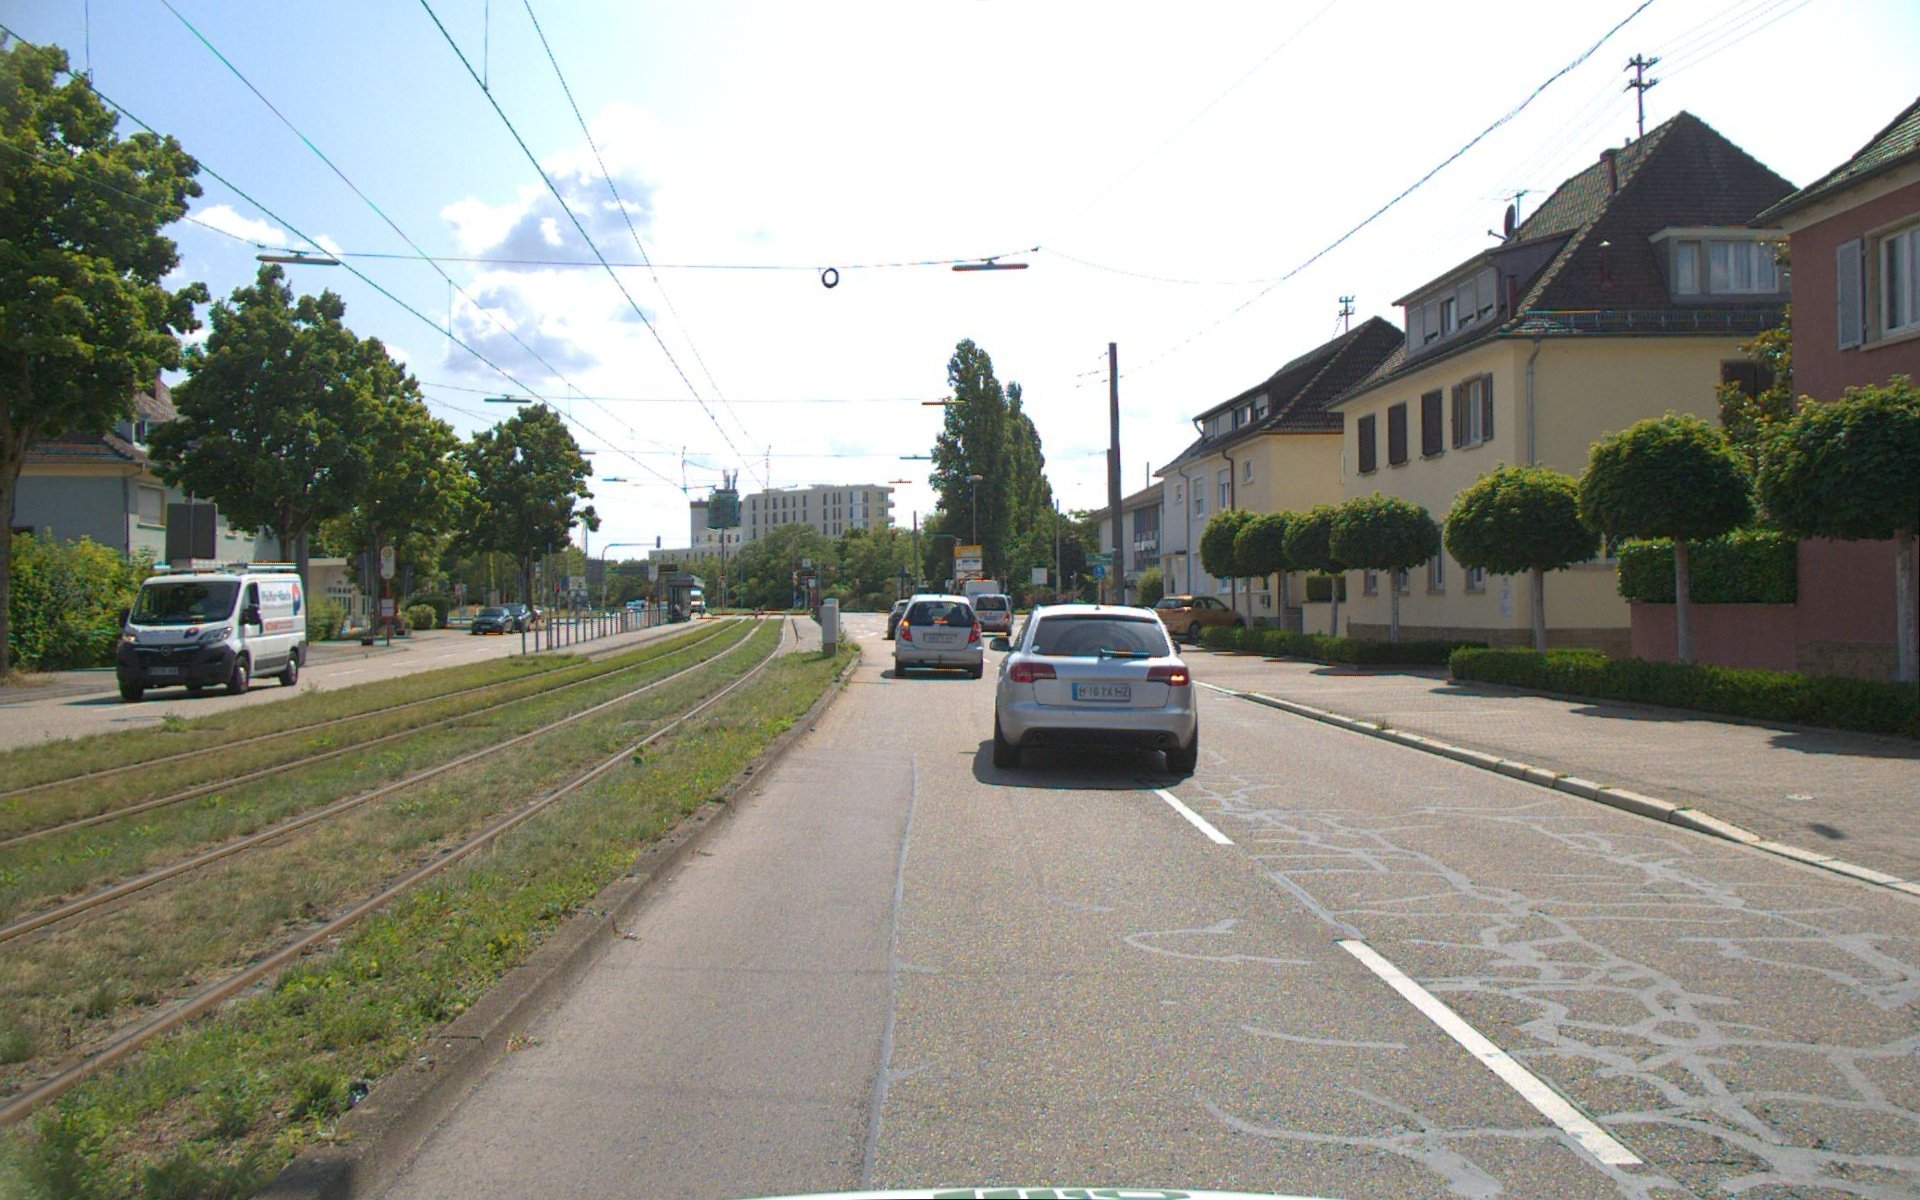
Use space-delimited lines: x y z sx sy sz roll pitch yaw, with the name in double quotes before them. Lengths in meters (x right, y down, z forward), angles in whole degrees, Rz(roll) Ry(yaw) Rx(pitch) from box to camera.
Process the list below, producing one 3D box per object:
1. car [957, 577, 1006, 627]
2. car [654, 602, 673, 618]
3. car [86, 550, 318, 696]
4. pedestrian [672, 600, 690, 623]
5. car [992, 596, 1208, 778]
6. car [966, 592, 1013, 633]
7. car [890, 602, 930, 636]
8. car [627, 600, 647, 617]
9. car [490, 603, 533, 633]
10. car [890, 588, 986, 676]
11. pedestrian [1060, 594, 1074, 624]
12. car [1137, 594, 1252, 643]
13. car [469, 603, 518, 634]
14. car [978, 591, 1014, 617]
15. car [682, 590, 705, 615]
"car" 1.112 0.122 88.995 2.002 2.602 5.224 0 0 -6
"car" -29.713 0.973 165.756 1.862 1.568 3.720 1 -1 -10
"car" -13.859 0.404 30.653 2.153 2.413 5.327 -2 0 -5
"pedestrian" -17.673 0.732 104.902 1.038 1.400 0.859 1 -1 -6
"car" 1.230 0.740 16.257 1.816 1.518 4.536 1 0 1
"car" 1.320 0.531 72.412 1.845 1.761 4.096 -1 0 3
"car" -2.406 0.902 78.589 1.847 1.557 4.092 1 -1 -2
"car" -32.819 0.862 168.263 1.828 1.680 3.990 1 -1 -10
"car" -25.531 0.985 94.309 2.023 1.642 4.740 -1 0 -11
"car" -0.496 0.610 33.502 1.751 1.604 4.092 2 0 -3
"pedestrian" 6.709 0.565 103.632 0.707 1.814 0.702 -3 0 -4
"car" 8.021 0.586 56.349 1.883 1.483 4.066 0 2 44
"car" -24.809 0.984 88.124 1.751 1.612 3.927 0 0 -4
"car" 2.339 0.294 109.403 1.849 1.665 4.088 1 -1 -6
"car" -29.709 0.301 184.214 1.960 2.651 4.859 1 -1 -15
